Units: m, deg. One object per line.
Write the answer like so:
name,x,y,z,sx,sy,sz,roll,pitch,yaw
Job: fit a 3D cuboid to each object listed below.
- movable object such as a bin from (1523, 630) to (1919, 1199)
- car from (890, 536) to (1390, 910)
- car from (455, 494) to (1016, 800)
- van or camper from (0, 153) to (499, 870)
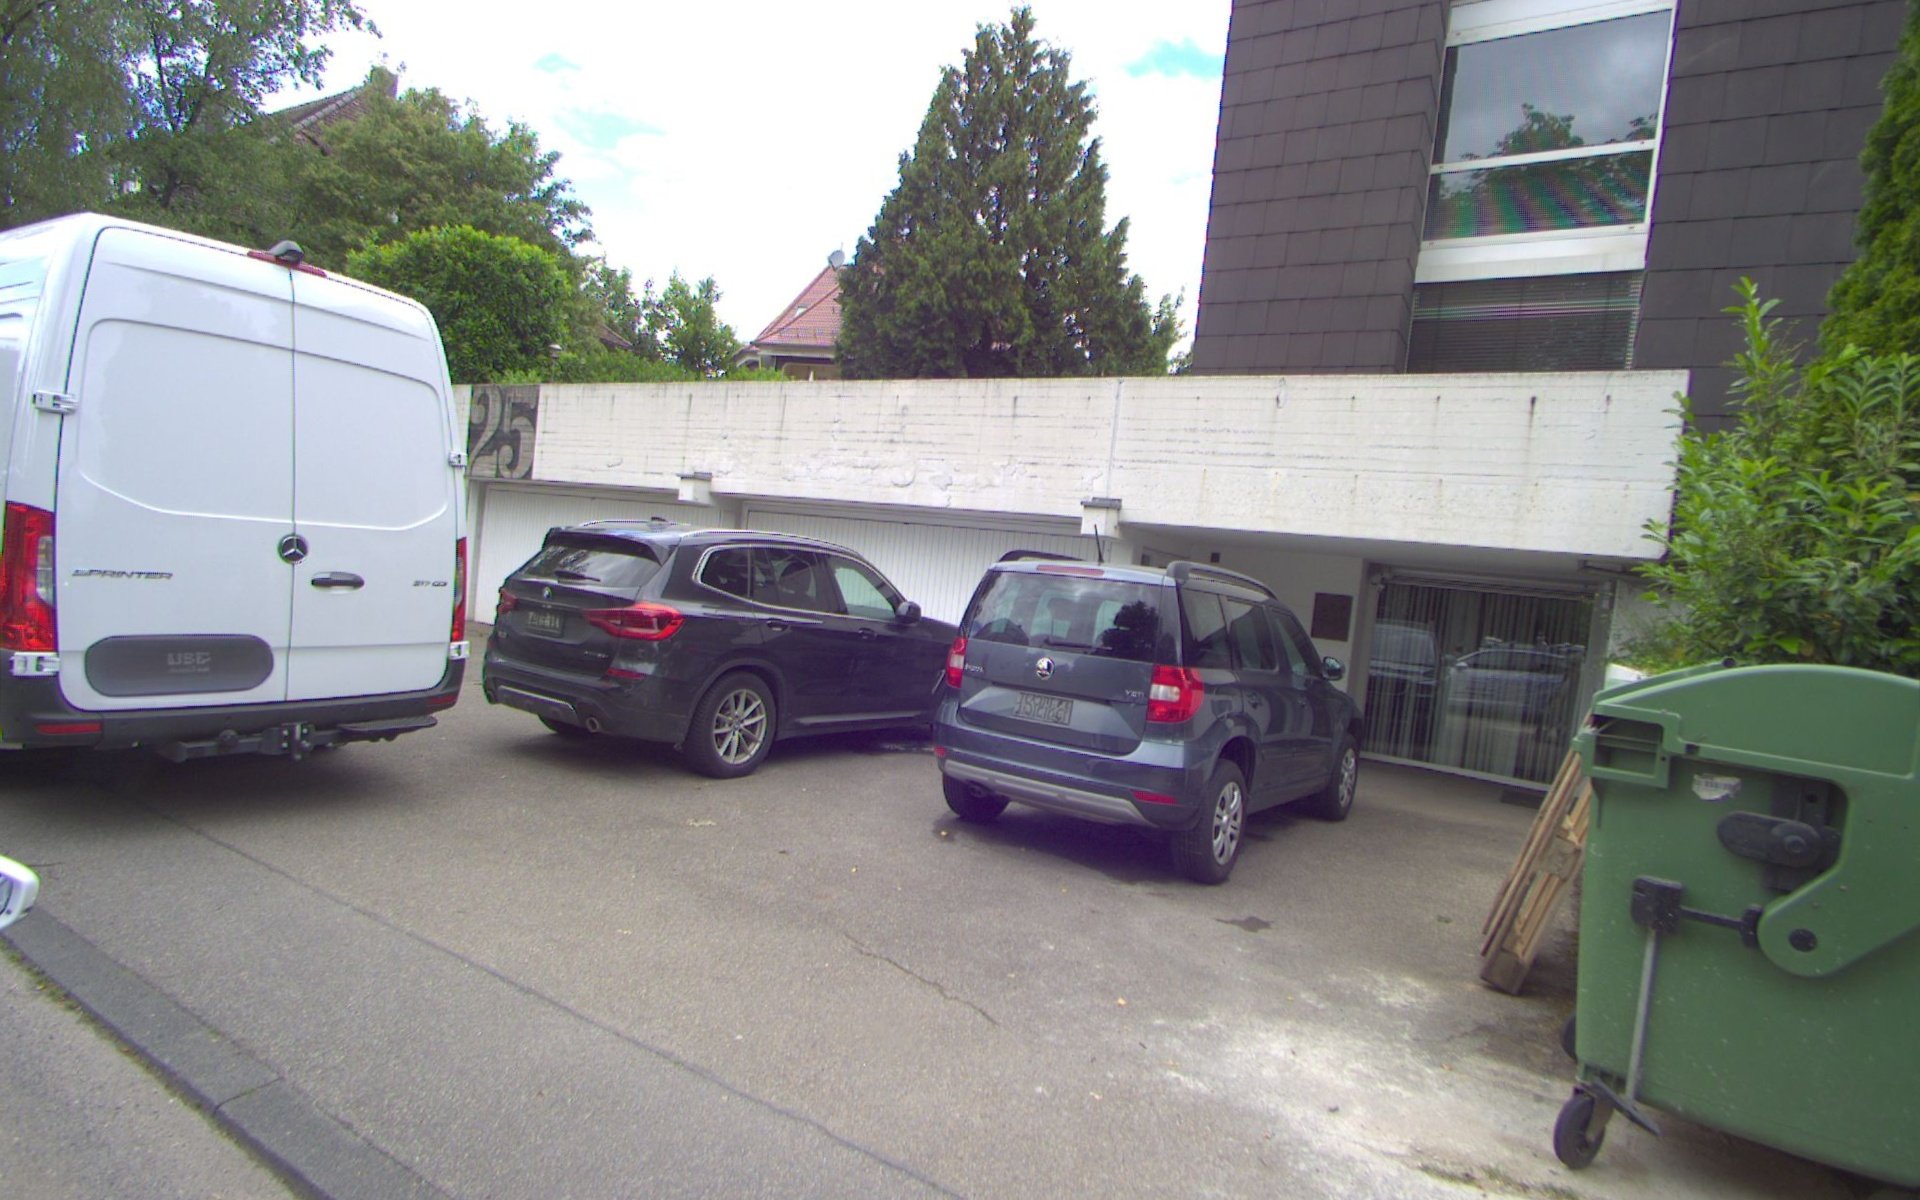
movable object such as a bin,2.405,0.898,2.974,1.098,1.469,1.405,6,1,32
car,1.480,0.639,6.794,1.717,1.673,3.899,6,1,35
car,-1.410,0.318,8.034,1.668,1.696,4.383,6,1,32
van or camper,-5.777,-0.584,6.277,6.436,2.662,1.990,6,4,32
